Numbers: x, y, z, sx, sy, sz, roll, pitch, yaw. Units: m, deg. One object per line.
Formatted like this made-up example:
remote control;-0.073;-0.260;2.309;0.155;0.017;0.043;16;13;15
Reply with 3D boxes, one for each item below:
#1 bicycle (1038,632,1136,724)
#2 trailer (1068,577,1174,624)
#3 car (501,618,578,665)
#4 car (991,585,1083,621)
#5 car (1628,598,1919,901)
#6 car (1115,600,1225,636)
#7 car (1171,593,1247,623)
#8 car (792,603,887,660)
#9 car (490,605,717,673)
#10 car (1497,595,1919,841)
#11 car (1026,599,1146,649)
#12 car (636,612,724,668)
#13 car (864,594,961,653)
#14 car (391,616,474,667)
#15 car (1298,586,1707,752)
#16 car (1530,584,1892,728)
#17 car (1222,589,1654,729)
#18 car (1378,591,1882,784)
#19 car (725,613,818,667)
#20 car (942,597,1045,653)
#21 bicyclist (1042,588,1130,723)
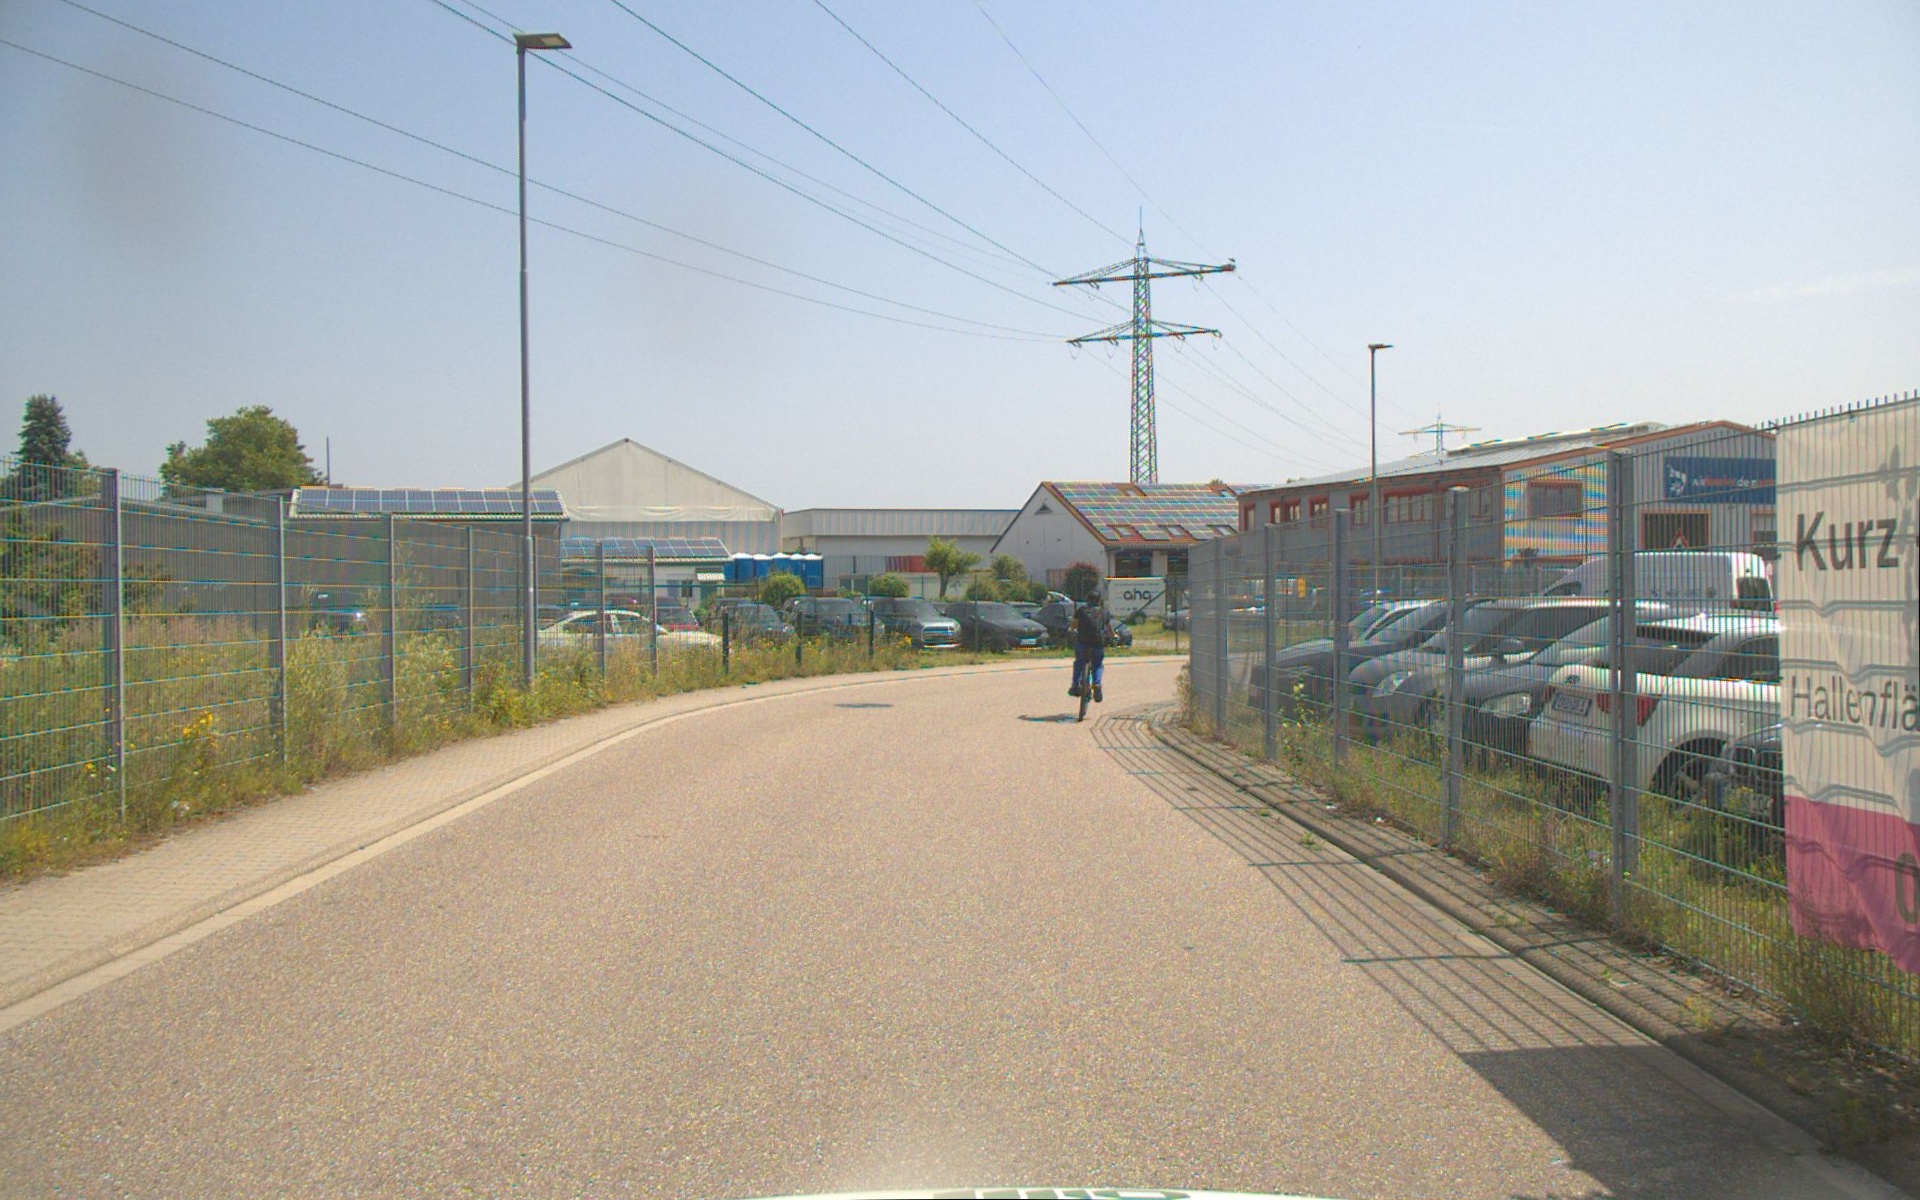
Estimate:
bicycle;1.653;0.967;21.194;0.671;1.070;1.900;1;0;23
trailer;7.071;0.008;72.817;4.361;1.979;1.712;-1;0;-6
car;-12.735;1.232;49.977;1.837;1.321;3.417;0;0;-22
car;3.611;0.118;77.669;3.927;1.626;1.867;0;0;-19
car;5.845;0.681;8.568;4.101;1.377;1.722;0;0;-4
car;7.924;0.676;62.320;4.070;1.283;1.227;-1;0;-22
car;13.409;0.423;88.955;3.839;1.542;1.498;-1;0;-22
car;-3.560;0.883;48.253;1.835;1.588;3.674;0;0;-20
car;-7.523;0.795;34.870;4.481;1.330;1.857;0;0;-20
car;5.731;0.802;11.375;3.454;1.413;1.635;4;0;-4
car;3.841;0.708;51.326;1.966;1.460;4.637;0;0;-20
car;-7.871;1.080;46.309;1.835;1.479;3.420;0;0;-20
car;-1.450;0.671;48.912;1.835;1.672;3.612;0;0;-20
car;-15.871;1.221;49.695;1.841;1.439;3.410;0;0;-28
car;5.283;0.635;16.372;3.469;1.528;1.710;0;0;-4
car;12.490;0.853;27.819;1.890;2.187;5.261;0;0;-42
car;5.377;0.643;19.008;4.444;1.500;1.825;0;0;0
car;5.596;0.711;14.043;3.581;1.503;1.748;0;-2;-9
car;-5.455;1.121;47.559;1.835;1.458;3.627;0;0;-20
car;0.948;0.724;49.341;1.835;1.581;3.747;0;0;-20
bicyclist;1.611;0.679;21.039;0.825;1.647;1.039;1;0;22
